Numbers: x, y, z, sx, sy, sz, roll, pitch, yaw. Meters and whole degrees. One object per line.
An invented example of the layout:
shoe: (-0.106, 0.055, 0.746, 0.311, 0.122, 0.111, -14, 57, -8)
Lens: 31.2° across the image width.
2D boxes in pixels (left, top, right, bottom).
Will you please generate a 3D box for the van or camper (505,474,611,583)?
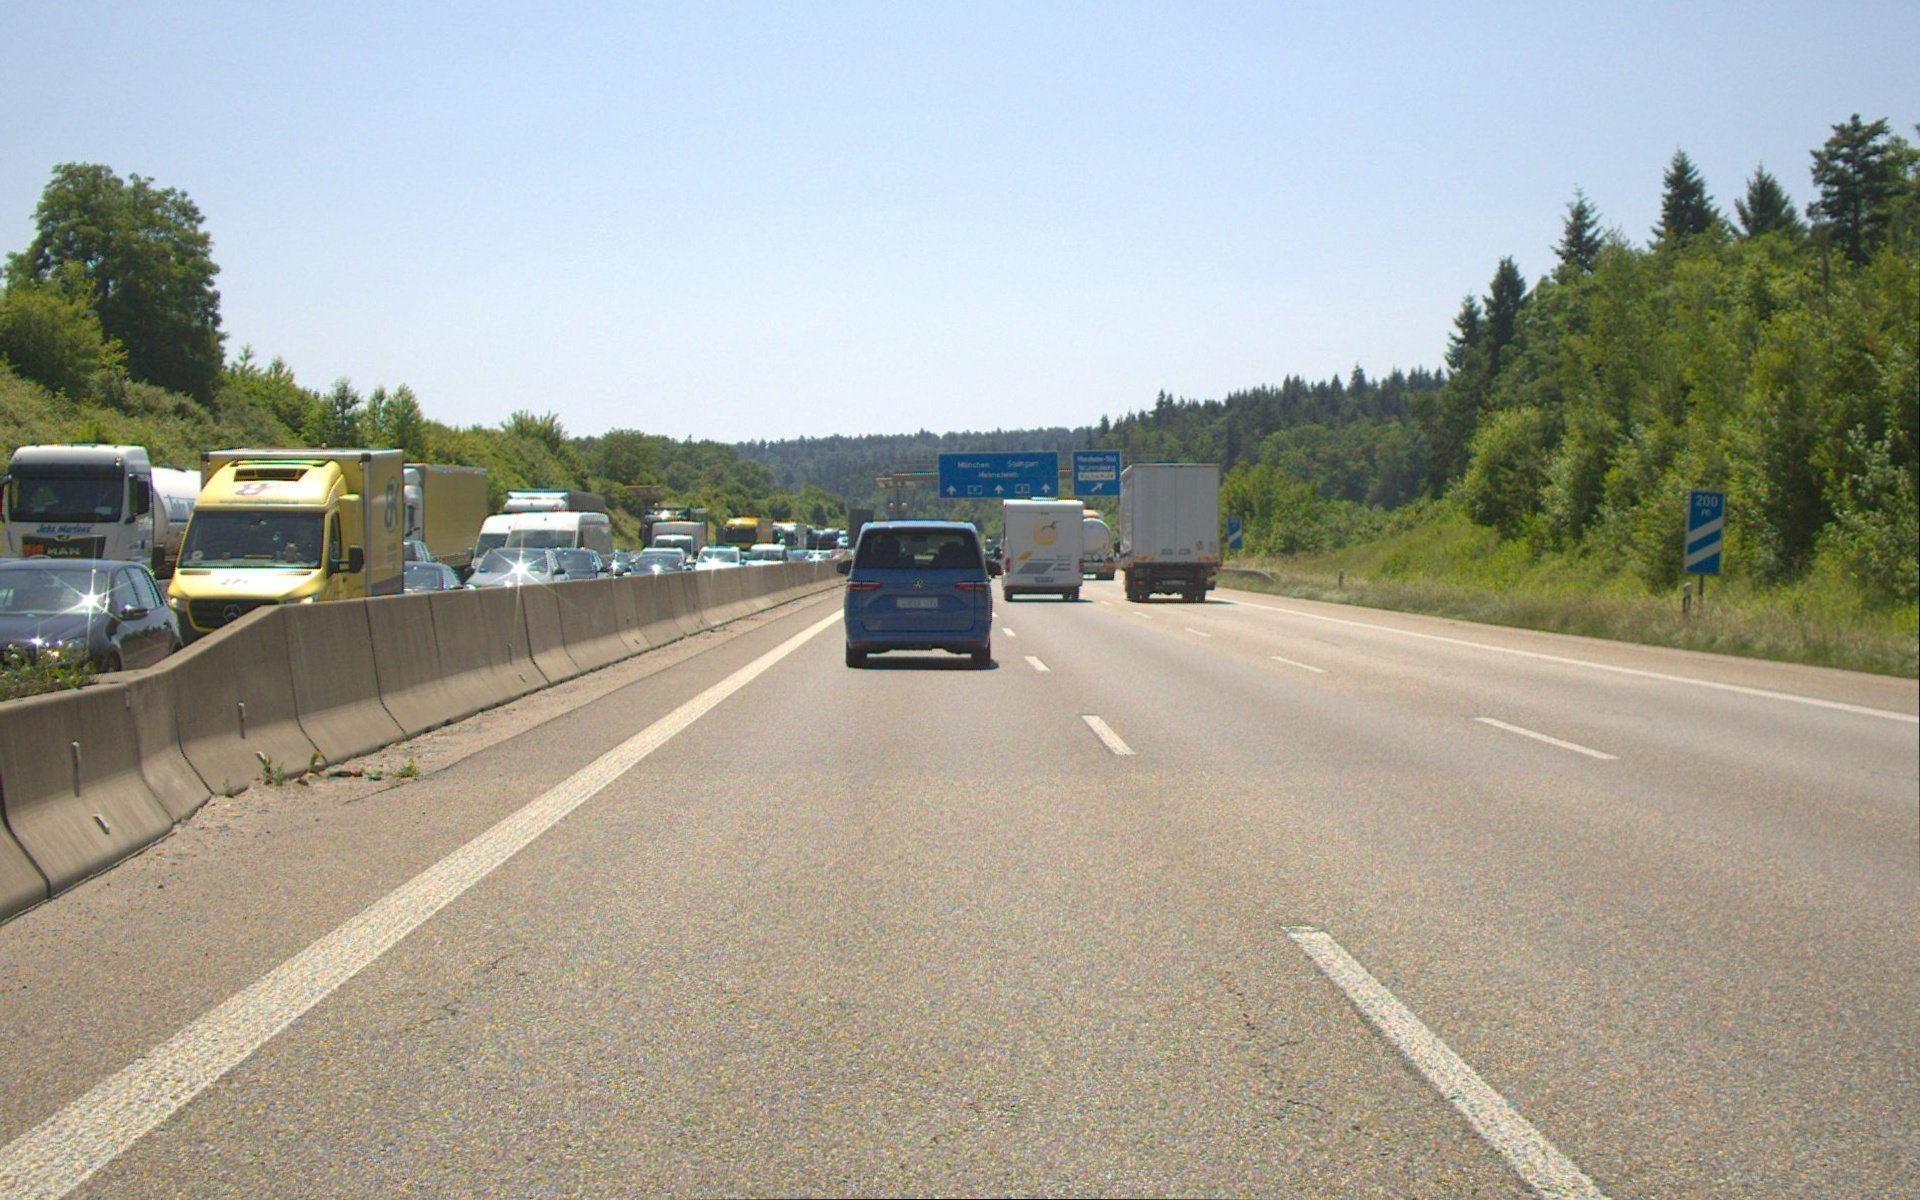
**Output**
van or camper: (-10.683, -1.861, 91.791, 2.251, 2.766, 7.218, 1, 0, -2)

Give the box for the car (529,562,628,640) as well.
car: (-8.868, 0.002, 80.191, 1.827, 1.758, 4.991, 1, 0, -1)

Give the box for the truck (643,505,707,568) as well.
truck: (-13.424, -2.965, 162.252, 2.568, 2.835, 6.753, 1, 0, -1)

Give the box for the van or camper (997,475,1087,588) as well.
van or camper: (2.431, -2.116, 103.783, 2.603, 3.067, 7.183, 1, 4, 1)

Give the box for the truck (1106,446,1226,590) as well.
truck: (6.138, -2.411, 103.939, 2.783, 4.114, 9.741, 1, 0, -1)

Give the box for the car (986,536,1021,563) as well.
car: (2.338, -2.743, 185.872, 1.780, 1.481, 4.000, 0, 1, -1)

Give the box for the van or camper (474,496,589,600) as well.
van or camper: (-12.587, -1.505, 101.527, 2.197, 2.929, 7.534, 1, 0, 2)

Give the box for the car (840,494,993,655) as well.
car: (-0.570, -0.337, 45.249, 1.909, 2.007, 4.000, 1, 1, -1)

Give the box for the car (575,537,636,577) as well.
car: (-13.452, -1.658, 130.752, 1.828, 1.488, 4.991, 0, 1, 0)

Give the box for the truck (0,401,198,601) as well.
truck: (-16.876, -1.878, 67.545, 2.678, 3.730, 5.873, 1, 0, -2)

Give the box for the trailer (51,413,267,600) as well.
trailer: (-17.085, -1.991, 74.045, 2.610, 3.720, 10.683, 1, 1, -3)

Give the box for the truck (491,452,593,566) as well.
truck: (-17.115, -3.676, 141.425, 2.942, 4.500, 8.605, 1, 0, 1)

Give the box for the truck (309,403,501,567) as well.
truck: (-16.457, -3.255, 103.374, 3.696, 4.441, 16.677, 1, 0, -2)

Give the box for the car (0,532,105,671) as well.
car: (-12.999, -0.010, 46.247, 1.827, 1.758, 4.991, 1, 0, -1)

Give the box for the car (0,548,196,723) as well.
car: (-8.434, 0.277, 31.840, 1.827, 1.492, 4.760, 1, 0, -2)

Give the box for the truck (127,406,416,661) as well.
truck: (-8.726, -0.817, 44.294, 2.268, 3.006, 6.777, 1, 0, 1)

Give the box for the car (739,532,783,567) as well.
car: (-9.360, -2.373, 162.075, 1.827, 1.559, 5.111, 1, 0, -1)

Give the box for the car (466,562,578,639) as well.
car: (-8.817, -0.012, 69.520, 1.827, 1.492, 4.760, 1, 0, -2)

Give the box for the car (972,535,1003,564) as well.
car: (1.662, -3.078, 209.960, 1.776, 1.766, 4.000, 0, 1, -1)

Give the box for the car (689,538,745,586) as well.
car: (-9.244, -1.444, 131.080, 1.827, 1.758, 4.991, 1, 0, -1)

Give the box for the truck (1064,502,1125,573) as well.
truck: (6.962, -3.309, 179.037, 2.928, 3.563, 8.526, -1, 2, 1)
